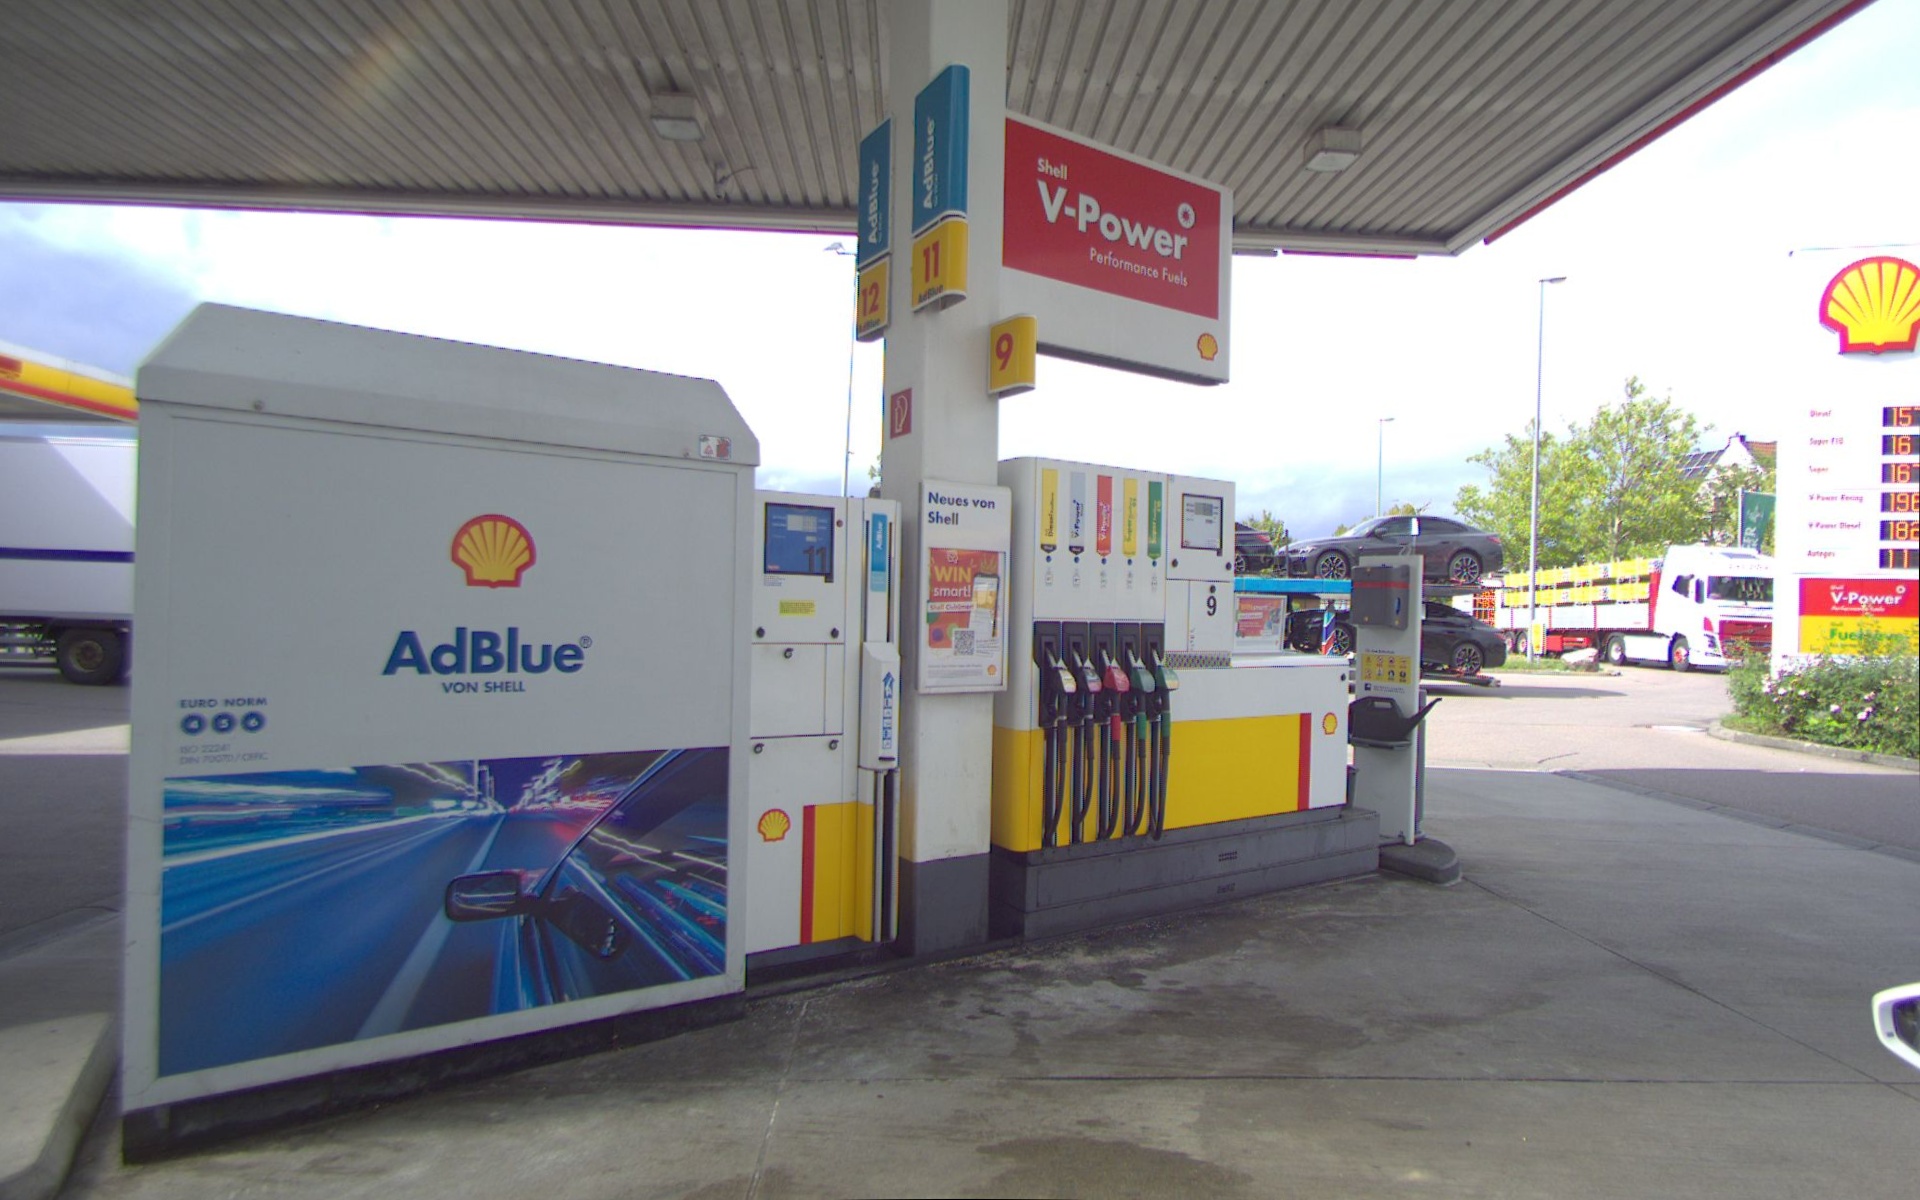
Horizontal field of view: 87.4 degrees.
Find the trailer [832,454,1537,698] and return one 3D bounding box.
[{"bbox_3d":[4.529,-0.464,21.593,14.077,4.481,2.746,2,0,0],"label":"trailer"}]

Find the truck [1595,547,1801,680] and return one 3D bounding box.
[{"bbox_3d":[23.919,0.405,32.988,2.686,3.897,5.921,2,0,5],"label":"truck"}]

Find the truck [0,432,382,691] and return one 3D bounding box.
[{"bbox_3d":[-17.299,-0.735,17.511,12.654,4.092,2.534,2,0,-3],"label":"truck"}]

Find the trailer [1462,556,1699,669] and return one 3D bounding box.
[{"bbox_3d":[24.595,0.468,41.052,2.684,3.826,12.718,2,0,5],"label":"trailer"}]

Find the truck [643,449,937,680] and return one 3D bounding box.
[{"bbox_3d":[-3.447,-0.700,21.555,5.713,4.479,2.750,2,0,0],"label":"truck"}]
